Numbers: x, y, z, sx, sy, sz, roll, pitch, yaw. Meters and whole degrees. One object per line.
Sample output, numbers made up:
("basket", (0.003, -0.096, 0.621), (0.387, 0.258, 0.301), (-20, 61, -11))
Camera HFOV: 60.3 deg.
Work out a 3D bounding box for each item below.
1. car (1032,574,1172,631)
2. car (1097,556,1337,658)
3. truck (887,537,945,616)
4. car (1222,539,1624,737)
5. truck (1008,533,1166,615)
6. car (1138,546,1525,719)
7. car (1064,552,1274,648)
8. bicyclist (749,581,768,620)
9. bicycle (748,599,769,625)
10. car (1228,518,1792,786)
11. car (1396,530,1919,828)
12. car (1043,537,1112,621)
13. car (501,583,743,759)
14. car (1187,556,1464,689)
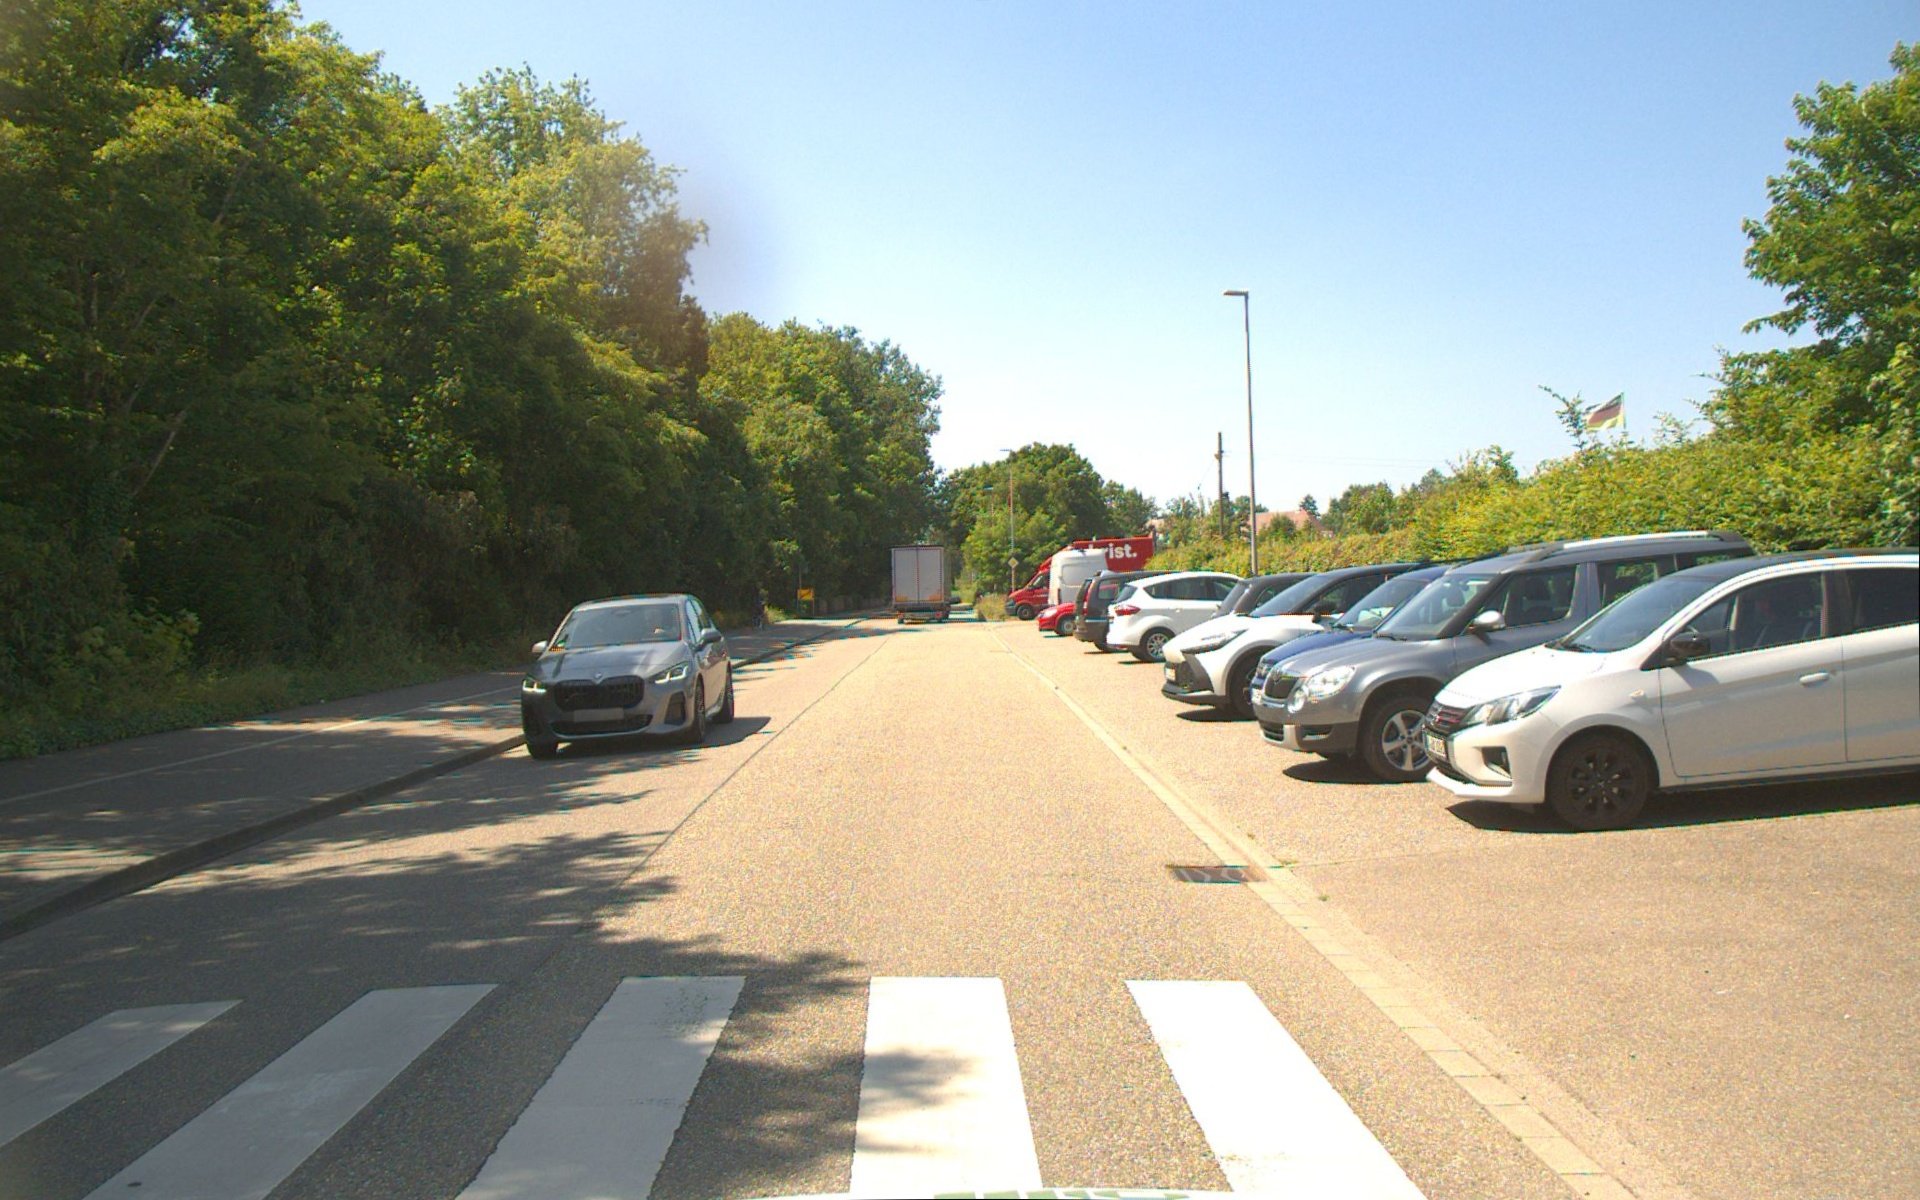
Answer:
("car", (4.320, 0.056, 50.647), (3.974, 1.459, 1.834), (-4, 1, -4))
("car", (4.850, 0.116, 31.580), (4.191, 1.605, 1.764), (-4, 1, -3))
("truck", (-2.200, -1.154, 86.275), (2.677, 3.811, 13.244), (0, 0, 0))
("car", (4.481, 0.342, 16.253), (3.387, 1.553, 1.537), (-5, 1, -6))
("truck", (5.814, -1.173, 75.243), (6.984, 3.500, 2.332), (-1, 1, 8))
("car", (4.218, 0.340, 19.114), (3.888, 1.549, 1.861), (-5, 1, -7))
("car", (4.724, -0.005, 37.790), (4.367, 1.836, 1.950), (-4, 0, -5))
("bicyclist", (-8.497, 0.026, 69.665), (0.635, 1.592, 0.837), (-1, 0, 3))
("bicycle", (-8.486, 0.482, 69.603), (0.549, 1.045, 1.839), (-1, 0, 3))
("car", (4.328, 0.370, 13.318), (3.886, 1.668, 1.661), (-5, 1, -7))
("car", (4.800, 0.429, 10.434), (3.613, 1.475, 1.610), (-5, 1, 2))
("car", (4.258, -0.780, 61.032), (1.914, 2.780, 7.167), (-4, 1, 0))
("car", (-3.590, 0.681, 18.343), (1.853, 1.558, 4.195), (-5, 1, -2))
("car", (4.820, 0.274, 22.126), (3.317, 1.530, 1.588), (-3, 1, 2))
